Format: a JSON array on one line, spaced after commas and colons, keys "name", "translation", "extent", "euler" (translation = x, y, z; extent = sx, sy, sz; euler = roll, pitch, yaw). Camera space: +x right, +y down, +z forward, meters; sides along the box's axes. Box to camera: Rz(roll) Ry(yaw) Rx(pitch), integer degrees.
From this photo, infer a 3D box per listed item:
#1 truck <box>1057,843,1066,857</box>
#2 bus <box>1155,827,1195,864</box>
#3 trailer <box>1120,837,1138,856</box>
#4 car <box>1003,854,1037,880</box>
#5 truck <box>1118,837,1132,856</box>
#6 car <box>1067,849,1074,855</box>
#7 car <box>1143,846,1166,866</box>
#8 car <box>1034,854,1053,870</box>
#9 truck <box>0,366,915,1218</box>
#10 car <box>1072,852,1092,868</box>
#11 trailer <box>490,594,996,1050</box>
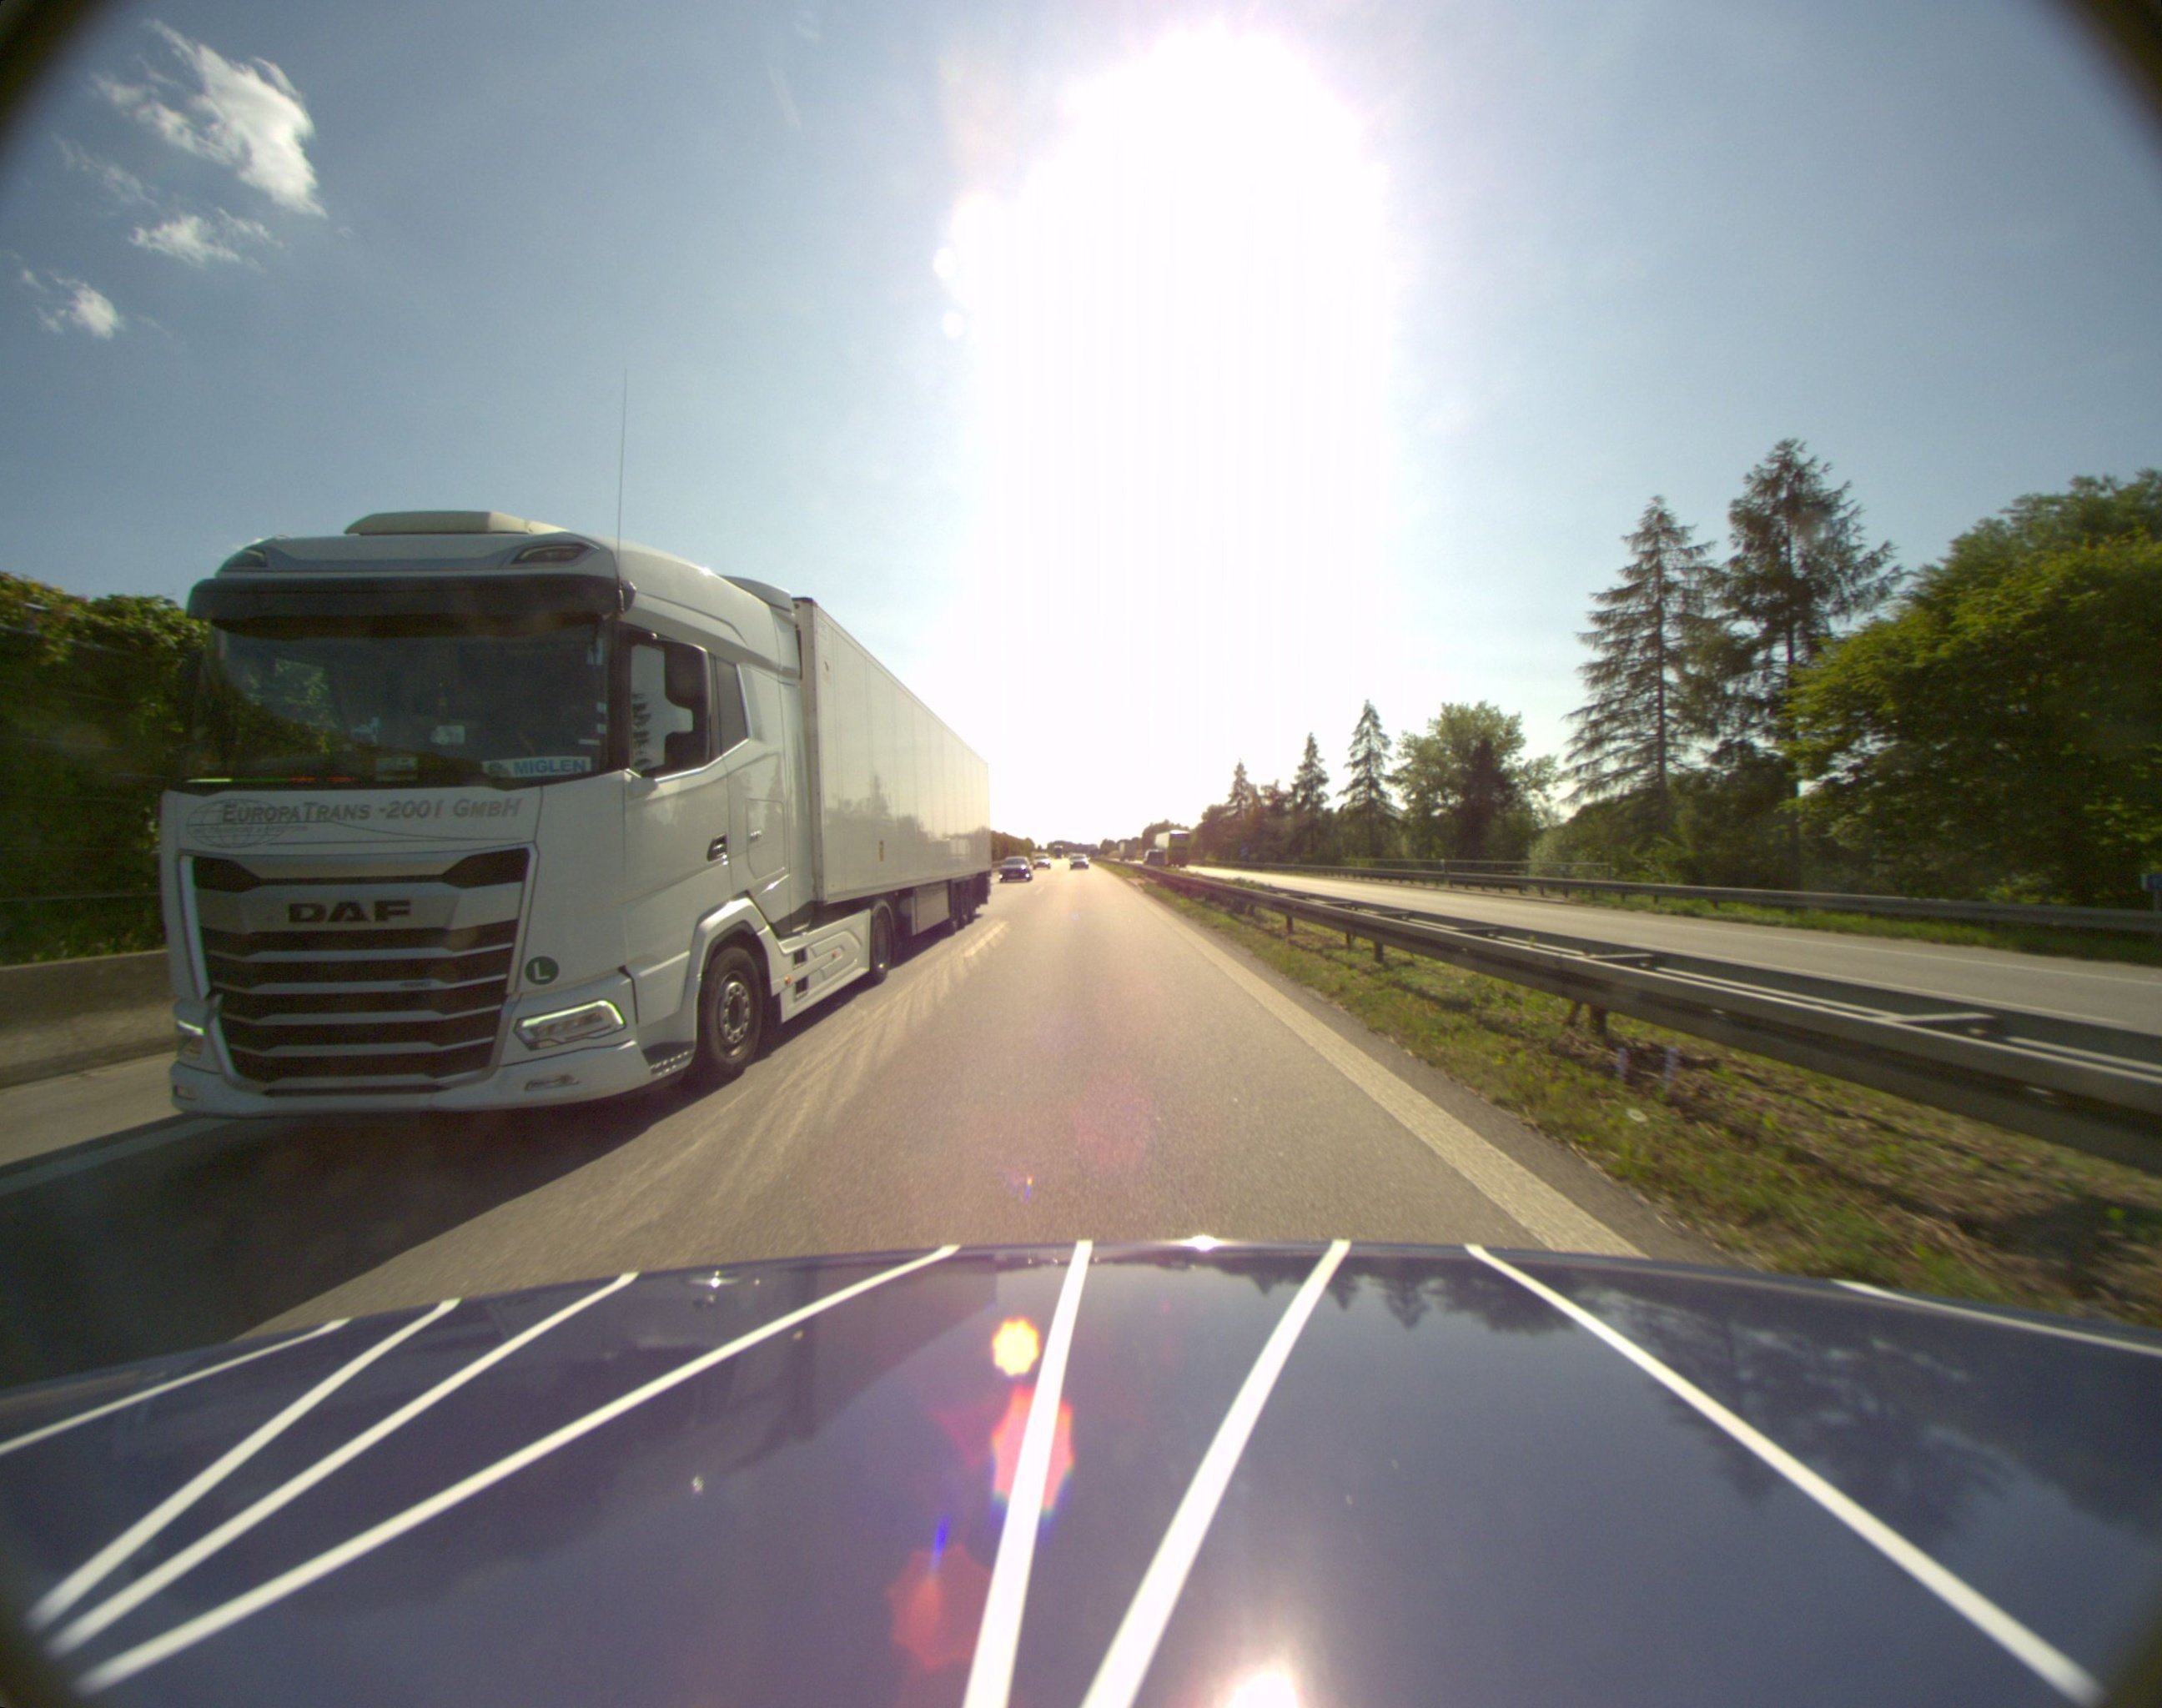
[{"name": "truck", "translation": [-5.945, -1.104, 230.859], "extent": [2.537, 4.227, 11.265], "euler": [1, 0, 0]}, {"name": "bus", "translation": [11.145, -0.959, 91.649], "extent": [2.944, 4.030, 14.667], "euler": [1, 0, 0]}, {"name": "trailer", "translation": [10.261, -1.520, 164.449], "extent": [2.668, 3.984, 14.086], "euler": [1, 0, -1]}, {"name": "car", "translation": [-3.541, 0.708, 44.483], "extent": [1.669, 1.446, 4.544], "euler": [-1, 0, -1]}, {"name": "truck", "translation": [9.860, -1.607, 170.312], "extent": [2.651, 3.985, 7.192], "euler": [1, 0, -1]}, {"name": "car", "translation": [-2.559, -0.470, 187.818], "extent": [1.741, 1.514, 3.999], "euler": [0, 0, -1]}, {"name": "car", "translation": [7.142, 0.219, 73.895], "extent": [1.759, 1.838, 5.011], "euler": [2, 0, 0]}, {"name": "car", "translation": [-3.893, 0.841, 79.654], "extent": [1.689, 1.487, 4.987], "euler": [3, -1, -1]}, {"name": "truck", "translation": [-3.724, -0.259, 7.071], "extent": [2.848, 3.943, 7.043], "euler": [1, 0, -1]}, {"name": "car", "translation": [0.042, 0.580, 73.888], "extent": [1.871, 1.514, 4.283], "euler": [2, 0, -1]}, {"name": "trailer", "translation": [-3.750, -0.252, 13.724], "extent": [2.826, 3.943, 14.159], "euler": [1, 0, 0]}]
